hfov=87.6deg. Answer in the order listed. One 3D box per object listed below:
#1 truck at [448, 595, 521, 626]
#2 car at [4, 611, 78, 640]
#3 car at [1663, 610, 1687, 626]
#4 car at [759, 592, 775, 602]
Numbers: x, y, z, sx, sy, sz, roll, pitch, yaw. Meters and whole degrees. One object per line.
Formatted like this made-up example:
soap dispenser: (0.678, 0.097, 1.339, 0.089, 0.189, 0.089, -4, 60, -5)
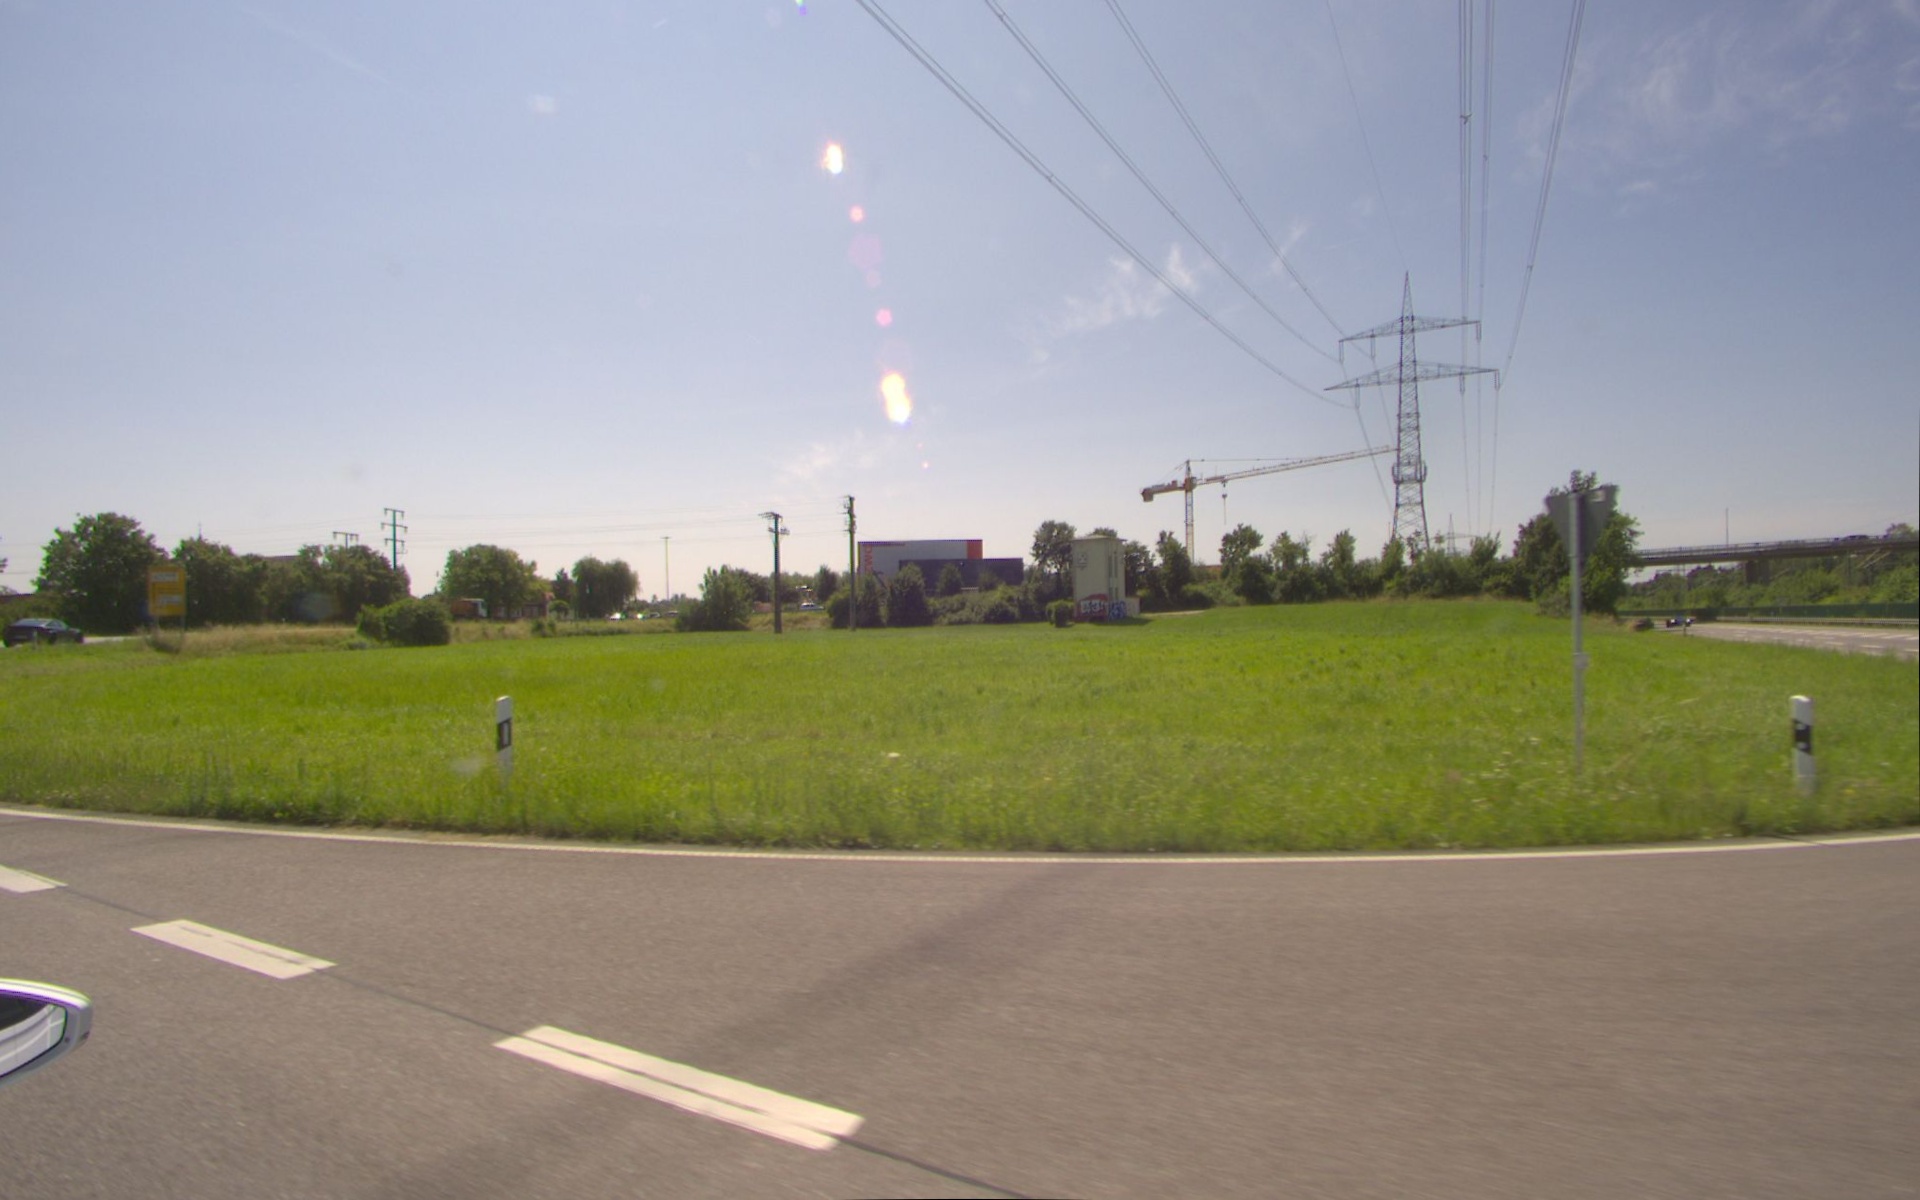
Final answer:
truck: (-54.334, 1.225, 114.627, 3.049, 3.176, 8.806, 0, -3, 9)
car: (-48.228, 1.322, 52.622, 1.697, 1.438, 3.733, 0, -1, -24)
car: (78.311, 1.956, 109.739, 1.699, 1.746, 3.982, -1, -1, 30)
car: (-41.111, -0.664, 213.380, 1.961, 2.039, 4.002, 0, -2, 8)
